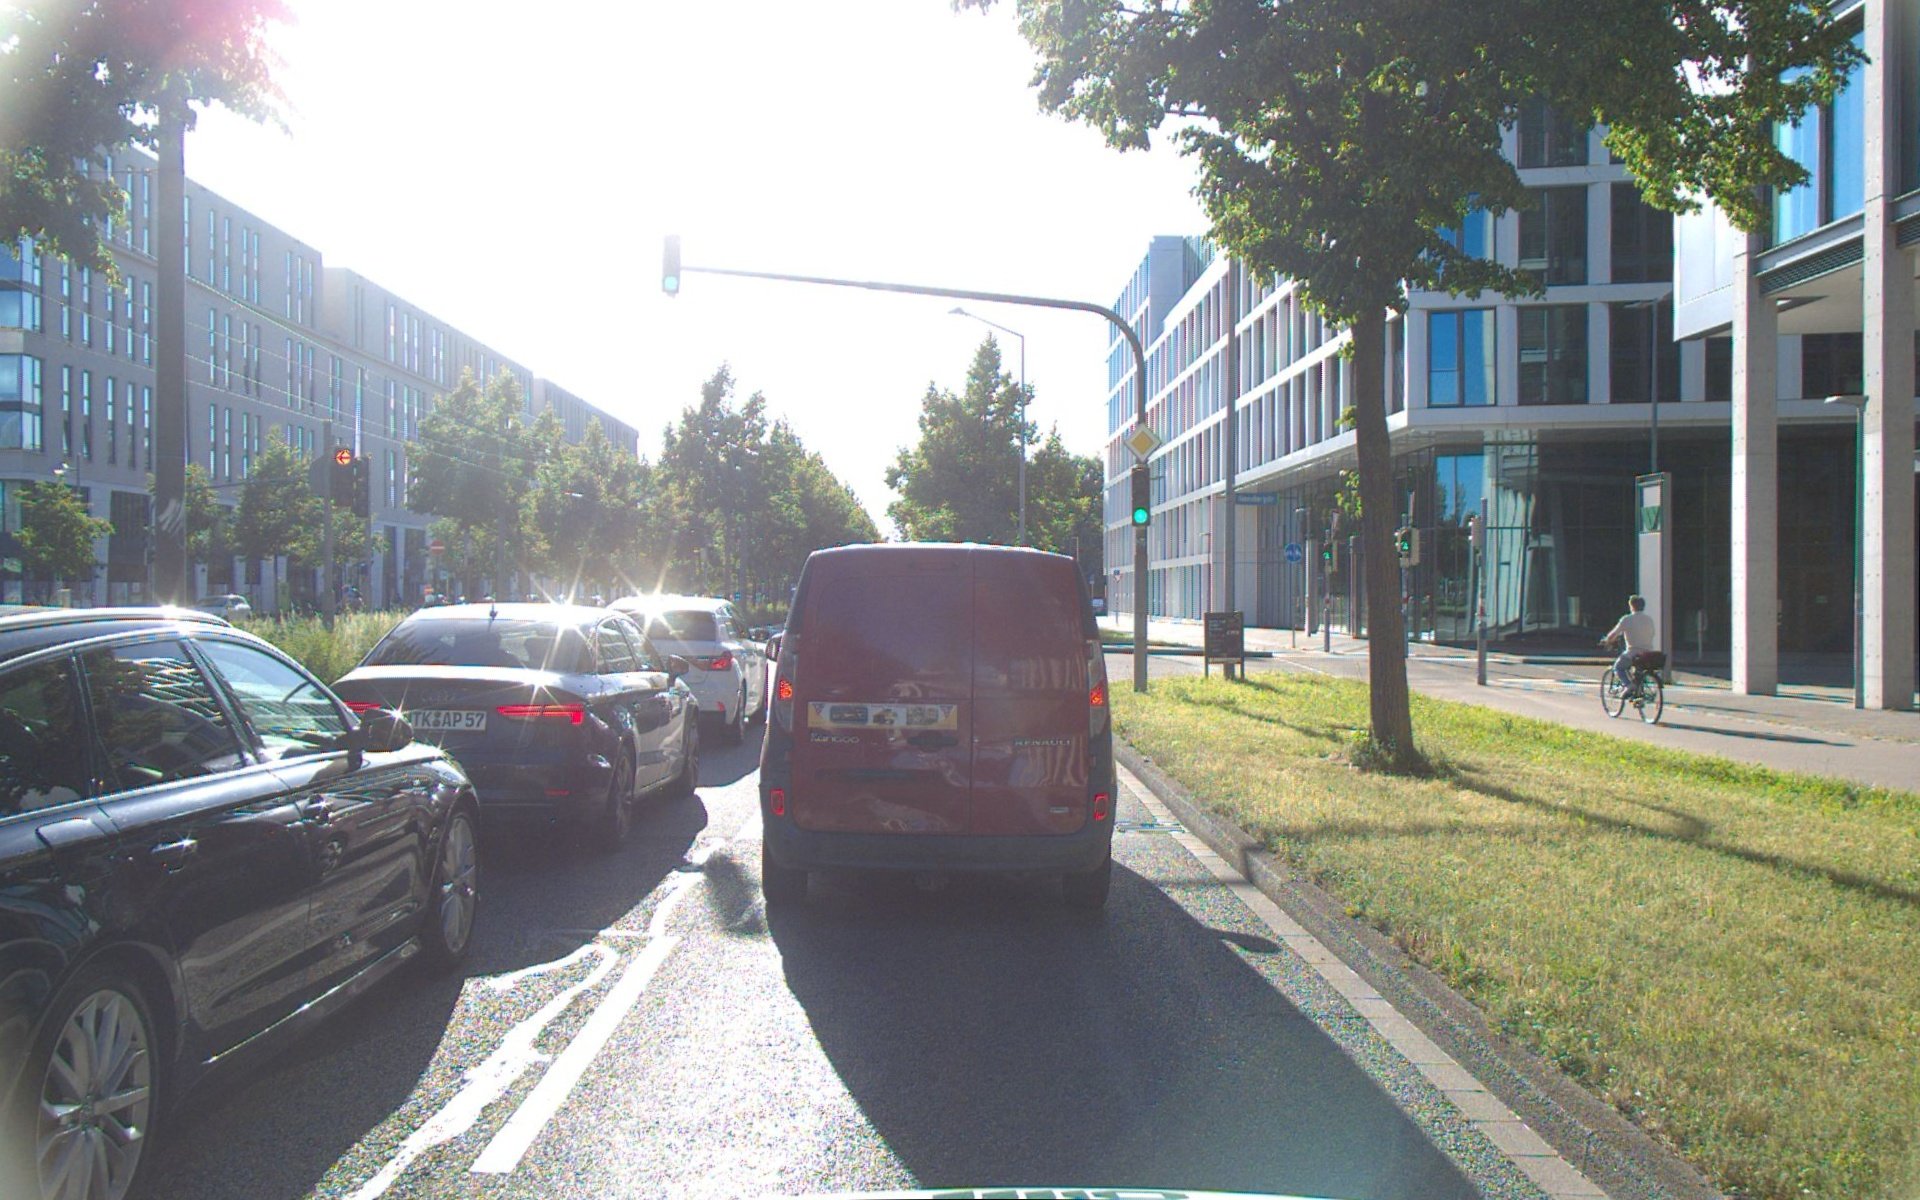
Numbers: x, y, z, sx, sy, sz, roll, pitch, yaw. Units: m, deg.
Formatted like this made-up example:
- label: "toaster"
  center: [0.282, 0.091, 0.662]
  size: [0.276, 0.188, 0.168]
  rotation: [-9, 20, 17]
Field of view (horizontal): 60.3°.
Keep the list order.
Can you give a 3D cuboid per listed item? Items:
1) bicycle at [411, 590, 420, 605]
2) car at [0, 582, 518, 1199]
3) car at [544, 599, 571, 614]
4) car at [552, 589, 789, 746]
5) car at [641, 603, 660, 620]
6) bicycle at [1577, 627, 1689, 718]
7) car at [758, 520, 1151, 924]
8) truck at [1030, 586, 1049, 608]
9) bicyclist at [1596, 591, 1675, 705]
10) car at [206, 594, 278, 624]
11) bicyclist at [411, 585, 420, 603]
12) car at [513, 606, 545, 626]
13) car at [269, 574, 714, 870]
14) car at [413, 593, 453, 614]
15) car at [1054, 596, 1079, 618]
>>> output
- label: "bicycle"
  center: [-40.839, -0.207, 124.062]
  size: [0.520, 1.130, 1.630]
  rotation: [1, 0, -17]
- label: "car"
  center: [-2.730, 0.696, 4.766]
  size: [1.771, 1.482, 4.507]
  rotation: [0, 0, -1]
- label: "car"
  center: [-36.159, 0.581, 148.641]
  size: [1.548, 1.366, 3.711]
  rotation: [0, 0, -1]
- label: "car"
  center: [-2.902, 0.620, 17.433]
  size: [1.771, 1.460, 4.113]
  rotation: [0, 0, 0]
- label: "car"
  center: [-37.122, 1.375, 198.357]
  size: [1.694, 2.049, 3.998]
  rotation: [0, 0, -3]
- label: "bicycle"
  center: [9.458, 0.998, 23.331]
  size: [0.726, 1.194, 1.961]
  rotation: [-2, -1, -1]
- label: "car"
  center: [-0.026, 0.543, 9.537]
  size: [1.771, 1.825, 4.113]
  rotation: [0, 0, 0]
- label: "truck"
  center: [9.523, -0.339, 199.019]
  size: [1.794, 2.545, 5.931]
  rotation: [0, 0, -1]
- label: "bicyclist"
  center: [9.461, 0.655, 23.195]
  size: [0.756, 1.558, 0.849]
  rotation: [0, 0, -1]
- label: "car"
  center: [-33.864, 0.400, 78.131]
  size: [1.548, 1.366, 4.470]
  rotation: [0, 0, -1]
- label: "bicyclist"
  center: [-40.836, -0.447, 124.065]
  size: [0.569, 1.316, 0.701]
  rotation: [1, -1, -18]
- label: "car"
  center: [-35.443, 1.308, 135.991]
  size: [1.740, 1.555, 3.805]
  rotation: [0, 0, -1]
- label: "car"
  center: [-2.771, 0.631, 10.764]
  size: [1.771, 1.554, 4.112]
  rotation: [0, 0, -1]
- label: "car"
  center: [-35.028, 0.209, 110.076]
  size: [1.548, 1.366, 3.711]
  rotation: [0, 0, -1]
- label: "car"
  center: [8.228, 0.536, 127.939]
  size: [1.722, 1.640, 3.903]
  rotation: [0, 0, 0]
